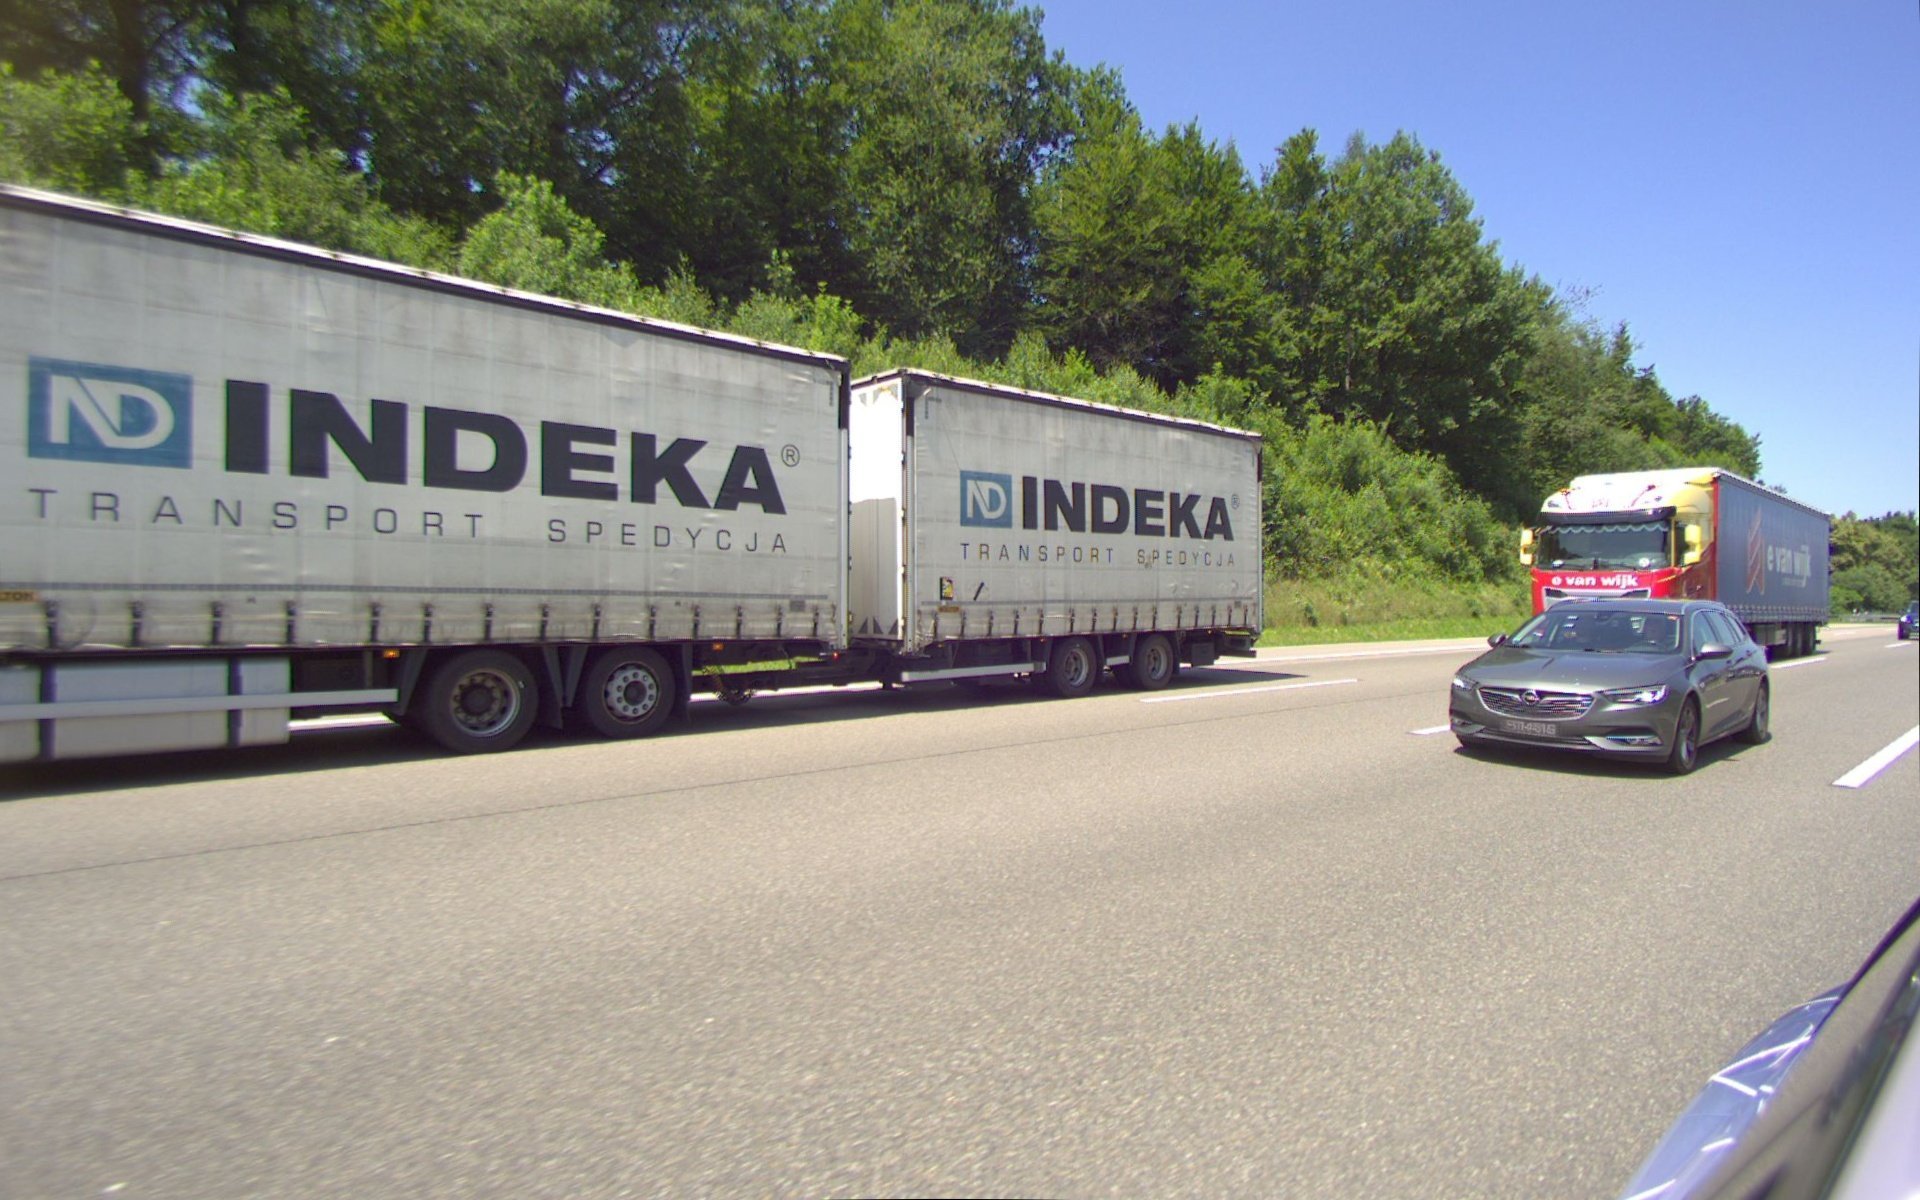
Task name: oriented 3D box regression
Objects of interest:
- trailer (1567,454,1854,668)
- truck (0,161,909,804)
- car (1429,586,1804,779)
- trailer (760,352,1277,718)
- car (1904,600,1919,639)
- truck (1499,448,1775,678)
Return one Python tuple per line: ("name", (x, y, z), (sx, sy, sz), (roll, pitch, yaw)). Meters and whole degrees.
("trailer", (19.678, -0.821, 25.820), (14.592, 4.194, 2.924), (0, 2, -42))
("truck", (-5.540, -0.797, 9.091), (10.777, 4.213, 2.726), (-1, 0, -41))
("car", (6.801, 0.626, 10.195), (5.135, 1.471, 1.969), (0, 0, -43))
("trailer", (1.312, -0.775, 15.074), (8.236, 4.121, 2.583), (-1, 0, -41))
("car", (40.479, 0.773, 41.647), (4.086, 1.532, 1.909), (-1, 0, -40))
("truck", (14.470, -0.678, 21.367), (7.408, 4.031, 3.016), (0, 1, -41))
